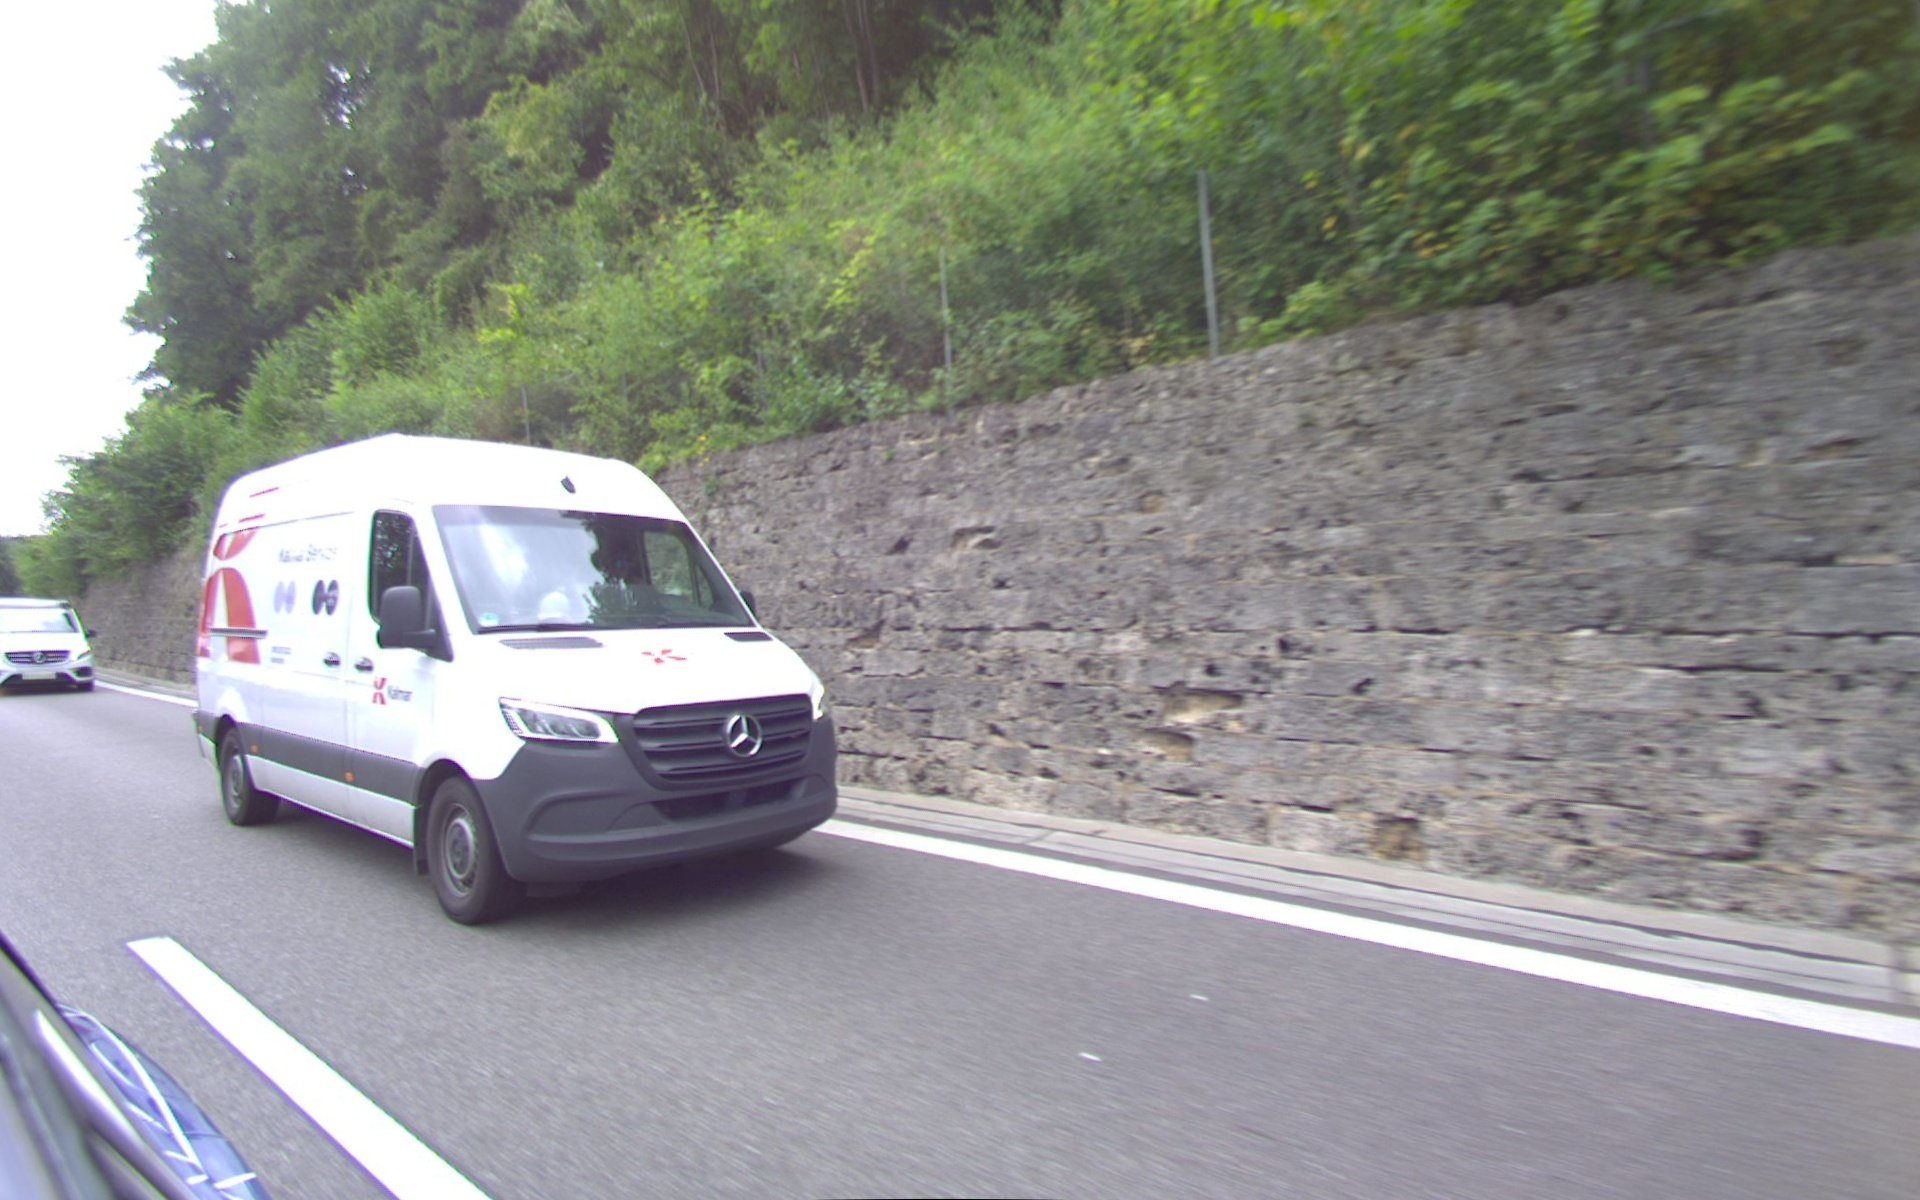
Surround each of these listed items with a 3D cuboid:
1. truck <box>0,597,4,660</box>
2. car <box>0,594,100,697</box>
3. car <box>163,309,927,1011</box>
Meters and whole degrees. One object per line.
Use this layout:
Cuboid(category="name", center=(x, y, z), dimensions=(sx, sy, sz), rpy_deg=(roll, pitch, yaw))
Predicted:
Cuboid(category="truck", center=(-37.942, 1.105, 38.567), dimensions=(1.971, 2.297, 6.589), rpy_deg=(-2, 1, -45))
Cuboid(category="car", center=(-20.572, 0.934, 22.144), dimensions=(6.148, 1.967, 1.972), rpy_deg=(-1, 1, 43))
Cuboid(category="car", center=(-3.191, 0.238, 6.583), dimensions=(6.271, 2.605, 2.005), rpy_deg=(-1, 0, 41))
